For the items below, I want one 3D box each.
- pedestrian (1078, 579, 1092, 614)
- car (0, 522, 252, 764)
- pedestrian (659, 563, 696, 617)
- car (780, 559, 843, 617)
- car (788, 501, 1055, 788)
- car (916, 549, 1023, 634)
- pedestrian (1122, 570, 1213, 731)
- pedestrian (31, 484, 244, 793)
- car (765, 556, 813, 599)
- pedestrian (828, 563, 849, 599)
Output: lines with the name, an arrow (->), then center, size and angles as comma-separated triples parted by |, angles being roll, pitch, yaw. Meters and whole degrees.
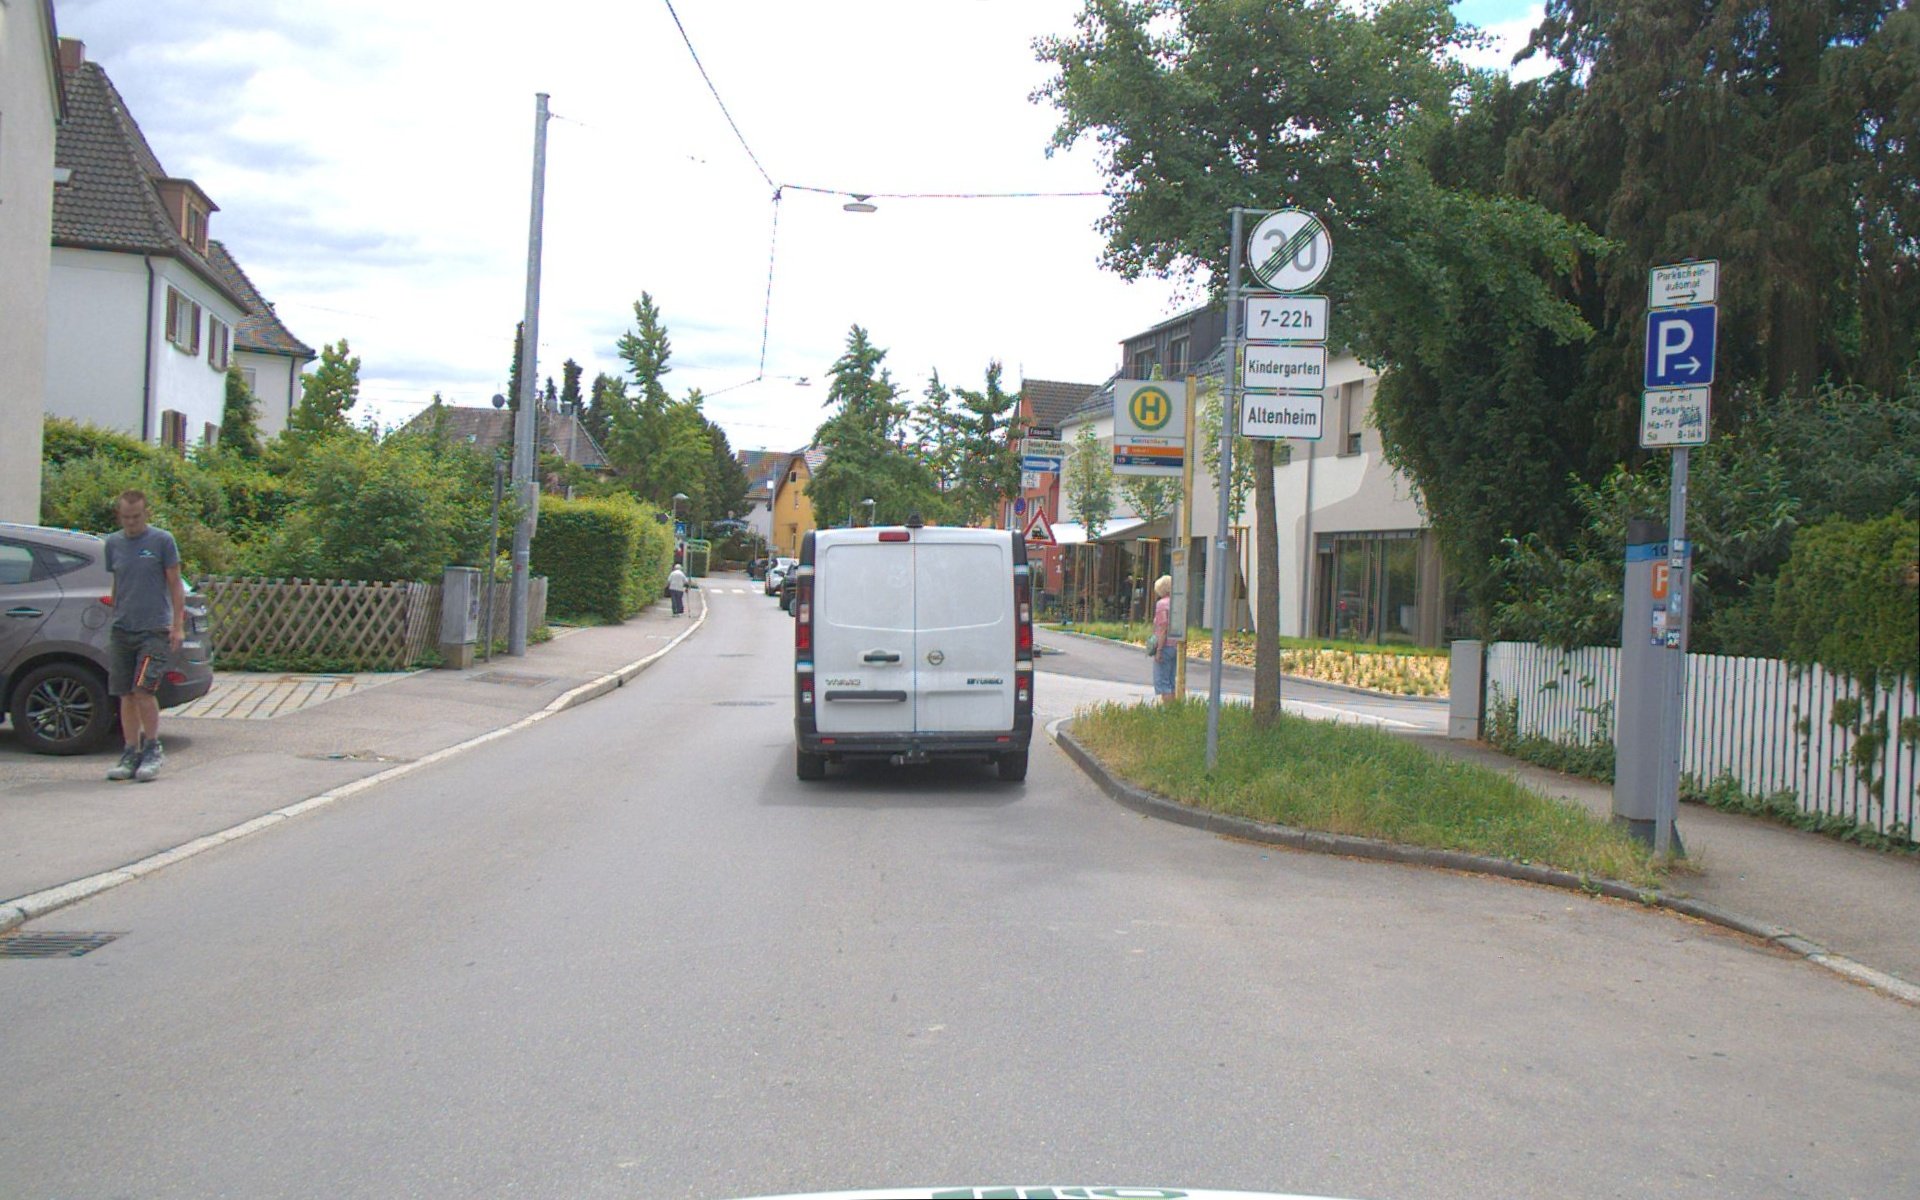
pedestrian -> 4.401, -0.117, 58.231 | 0.413, 1.202, 0.323 | 2, 0, -10
car -> -8.029, 0.210, 12.913 | 4.239, 1.725, 1.791 | 4, 0, -15
pedestrian -> -8.241, -0.286, 48.314 | 0.866, 1.511, 0.451 | 4, 0, -28
car -> -5.173, -0.434, 57.186 | 1.956, 1.880, 3.993 | 1, 0, -8
car -> -0.498, 0.325, 14.231 | 1.879, 2.037, 4.432 | 2, 0, -6
car -> 0.171, -0.238, 42.971 | 1.922, 1.949, 4.892 | 4, 0, -9
pedestrian -> 2.314, 0.549, 18.347 | 0.862, 1.673, 0.857 | 4, 0, 9
pedestrian -> -5.681, 0.253, 11.503 | 0.718, 1.979, 1.217 | 4, 0, 1
car -> -7.526, -0.988, 72.485 | 1.956, 1.813, 3.993 | 1, 0, -8
pedestrian -> -5.772, -0.892, 78.387 | 0.791, 1.637, 0.625 | 4, 0, -12
